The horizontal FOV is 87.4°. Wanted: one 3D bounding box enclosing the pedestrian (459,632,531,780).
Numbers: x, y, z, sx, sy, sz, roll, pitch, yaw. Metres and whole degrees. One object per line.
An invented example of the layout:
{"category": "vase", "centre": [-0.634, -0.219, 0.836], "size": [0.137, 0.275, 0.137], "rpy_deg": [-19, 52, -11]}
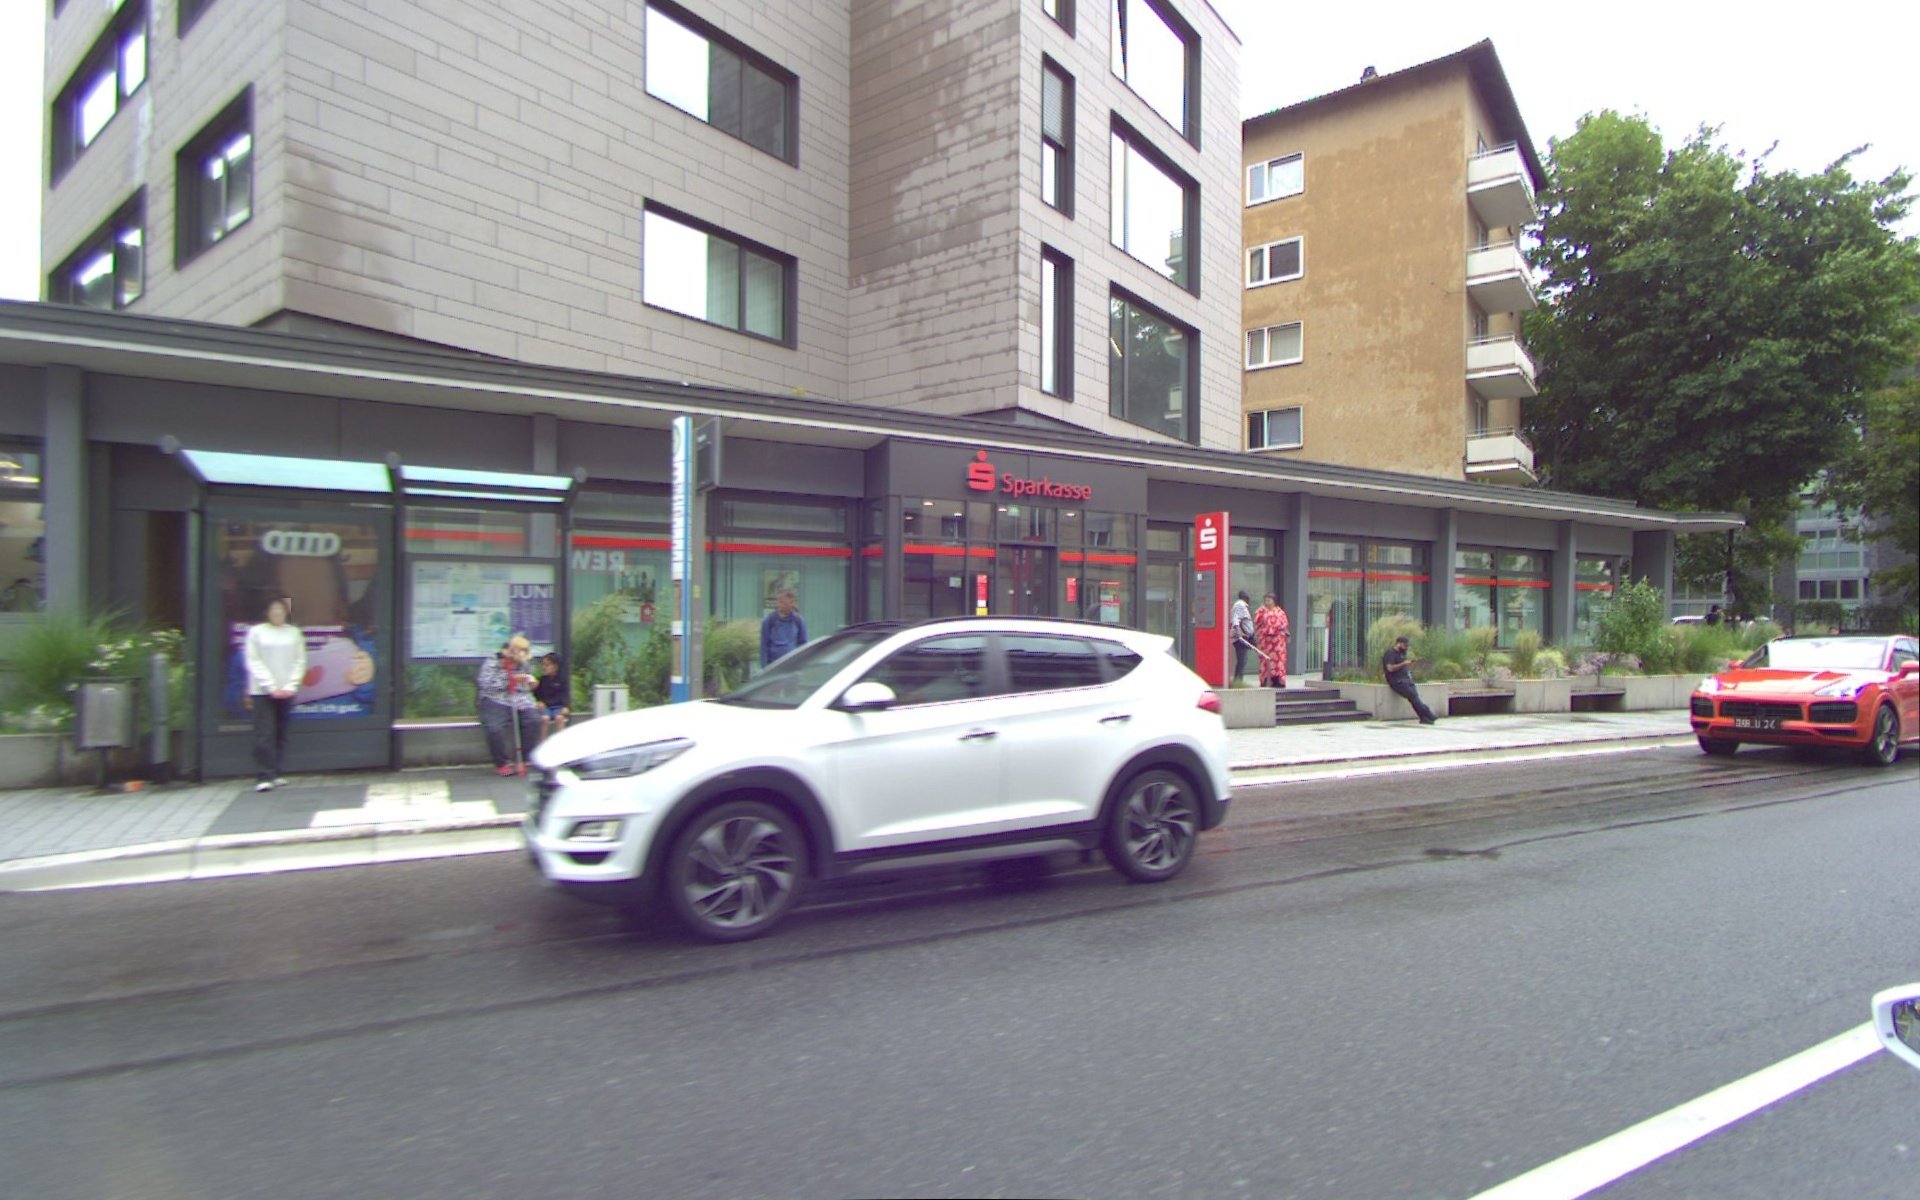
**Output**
{"category": "pedestrian", "centre": [-4.264, 0.949, 9.210], "size": [0.543, 1.294, 0.465], "rpy_deg": [1, -1, -30]}

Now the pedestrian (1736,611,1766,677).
{"category": "pedestrian", "centre": [21.813, 1.210, 27.706], "size": [0.646, 1.782, 0.718], "rpy_deg": [0, -1, 37]}

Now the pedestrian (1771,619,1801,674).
{"category": "pedestrian", "centre": [28.427, 1.570, 34.582], "size": [0.711, 1.850, 0.720], "rpy_deg": [1, 0, 33]}

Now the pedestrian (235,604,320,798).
{"category": "pedestrian", "centre": [-5.724, 0.824, 8.450], "size": [0.527, 1.570, 0.435], "rpy_deg": [1, -1, -31]}

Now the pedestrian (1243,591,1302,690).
{"category": "pedestrian", "centre": [5.467, 0.700, 17.603], "size": [0.784, 1.701, 0.713], "rpy_deg": [1, -1, -2]}

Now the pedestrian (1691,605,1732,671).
{"category": "pedestrian", "centre": [21.604, 1.075, 28.861], "size": [0.690, 1.869, 0.851], "rpy_deg": [2, -1, -44]}

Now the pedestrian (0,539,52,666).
{"category": "pedestrian", "centre": [-12.621, 0.038, 13.374], "size": [0.571, 1.649, 0.648], "rpy_deg": [1, 0, -24]}

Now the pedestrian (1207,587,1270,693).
{"category": "pedestrian", "centre": [4.609, 0.654, 16.648], "size": [0.705, 1.701, 0.710], "rpy_deg": [1, -1, -30]}

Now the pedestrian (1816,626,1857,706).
{"category": "pedestrian", "centre": [20.726, 1.540, 23.761], "size": [0.713, 1.850, 0.718], "rpy_deg": [1, 0, 42]}

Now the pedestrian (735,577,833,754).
{"category": "pedestrian", "centre": [-1.924, 0.695, 10.986], "size": [0.863, 1.843, 0.584], "rpy_deg": [2, -1, -38]}

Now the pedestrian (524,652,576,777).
{"category": "pedestrian", "centre": [-3.858, 1.061, 9.446], "size": [0.381, 1.131, 0.390], "rpy_deg": [1, -1, -30]}

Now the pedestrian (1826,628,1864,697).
{"category": "pedestrian", "centre": [24.474, 1.712, 27.781], "size": [0.712, 1.850, 0.851], "rpy_deg": [1, 0, 38]}

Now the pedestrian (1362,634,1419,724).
{"category": "pedestrian", "centre": [7.171, 1.303, 16.747], "size": [0.710, 1.439, 0.592], "rpy_deg": [1, -1, 5]}

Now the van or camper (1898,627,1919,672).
{"category": "van or camper", "centre": [45.769, 2.298, 45.172], "size": [4.881, 2.040, 1.995], "rpy_deg": [1, 0, 32]}

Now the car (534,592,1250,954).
{"category": "car", "centre": [-0.344, 0.882, 6.308], "size": [4.077, 1.593, 1.886], "rpy_deg": [2, -4, -30]}

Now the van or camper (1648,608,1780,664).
{"category": "van or camper", "centre": [34.301, 1.585, 45.894], "size": [4.537, 2.297, 2.206], "rpy_deg": [2, 1, 32]}

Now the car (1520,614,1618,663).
{"category": "car", "centre": [29.223, 1.817, 48.252], "size": [3.932, 2.285, 1.995], "rpy_deg": [-1, -2, 33]}

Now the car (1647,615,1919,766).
{"category": "car", "centre": [12.080, 1.207, 14.094], "size": [5.001, 1.787, 2.096], "rpy_deg": [2, -3, -30]}
